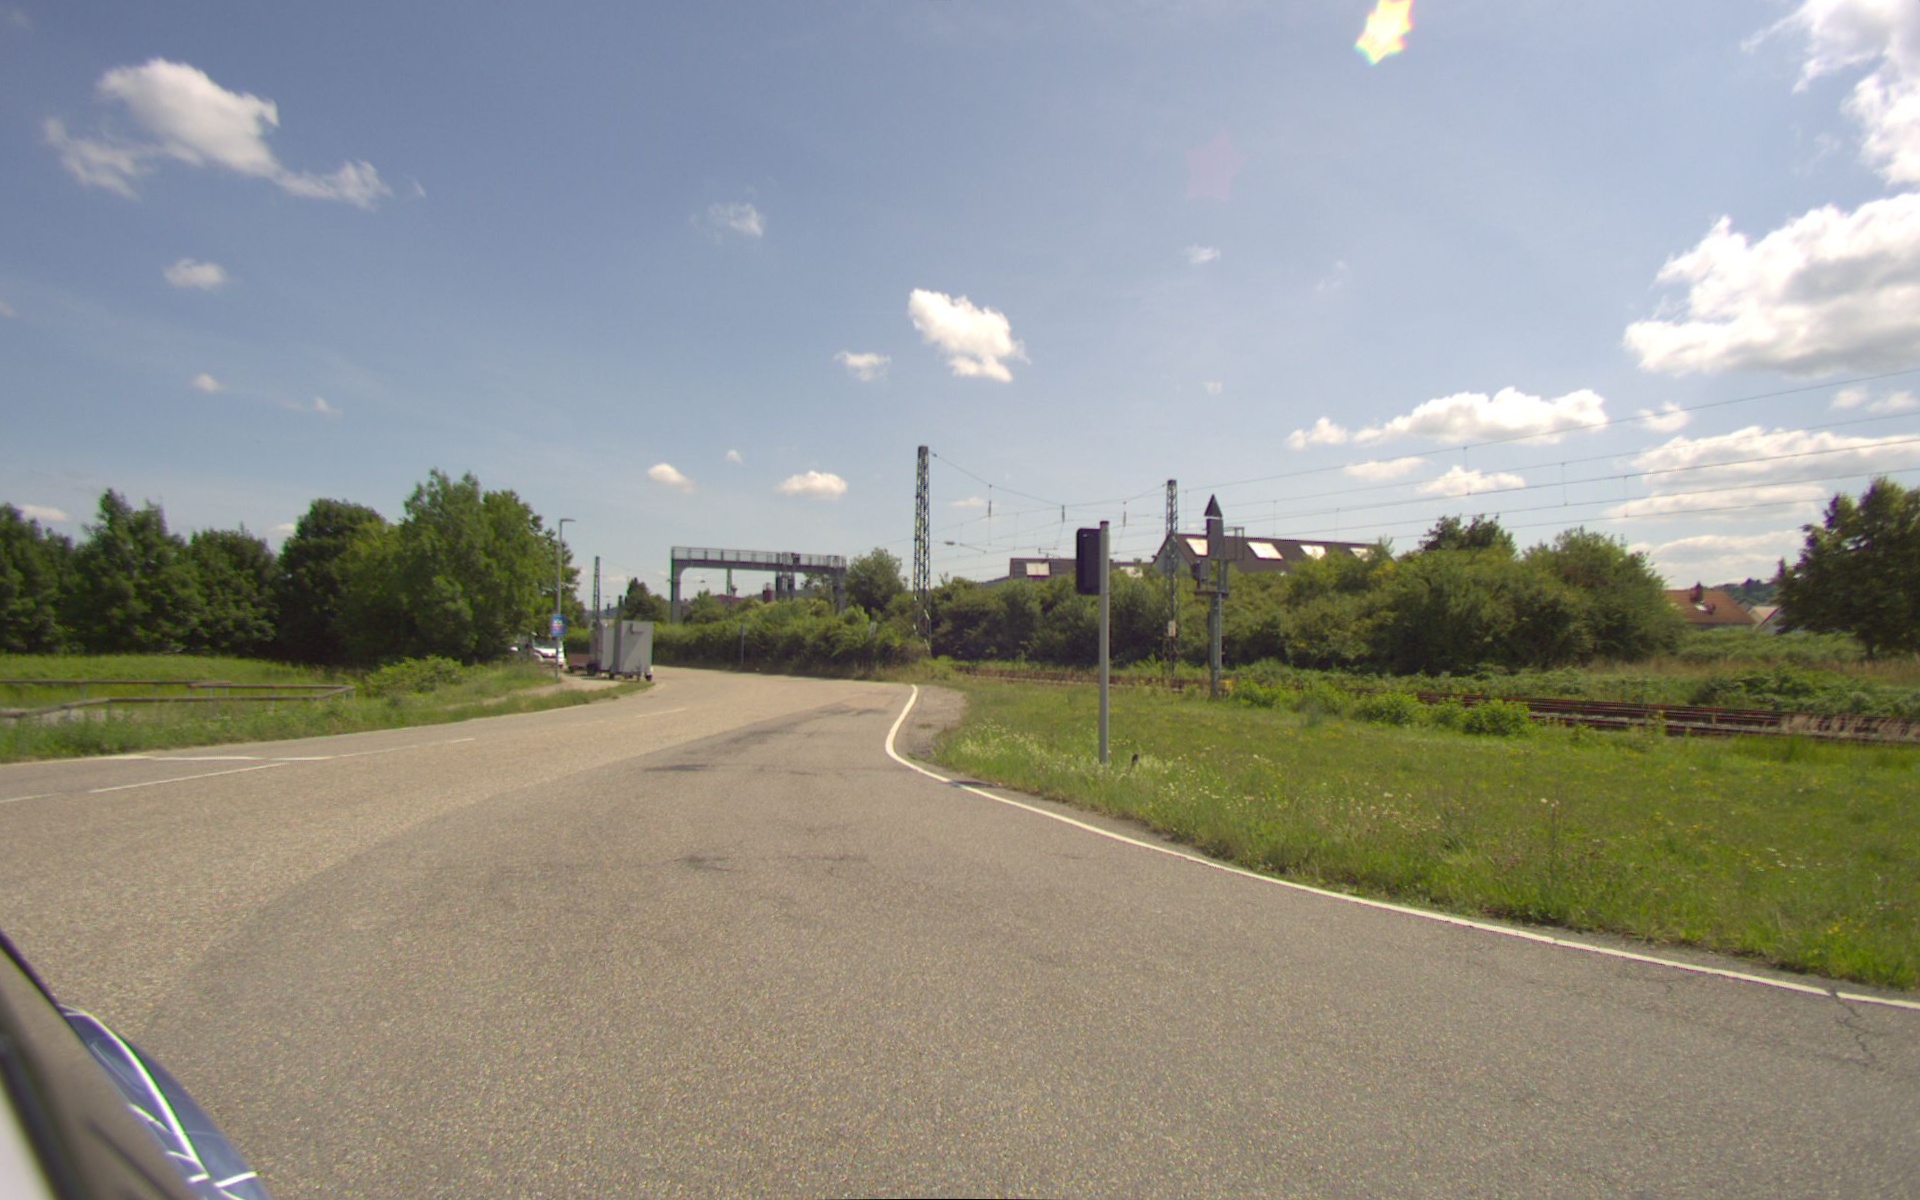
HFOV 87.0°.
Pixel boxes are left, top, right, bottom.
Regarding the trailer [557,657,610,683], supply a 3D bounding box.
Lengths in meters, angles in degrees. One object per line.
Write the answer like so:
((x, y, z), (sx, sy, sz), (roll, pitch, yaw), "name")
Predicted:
((-19.974, 3.688, 53.607), (1.976, 1.131, 4.503), (5, -4, -28), "trailer")

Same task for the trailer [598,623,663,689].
((-14.510, 2.467, 44.382), (1.905, 2.664, 5.200), (5, -5, -25), "trailer")

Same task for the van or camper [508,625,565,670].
((-29.267, 3.297, 69.773), (2.405, 2.848, 7.645), (4, -4, -31), "van or camper")

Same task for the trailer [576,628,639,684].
((-17.440, 2.753, 49.874), (1.892, 2.527, 4.755), (5, -5, -30), "trailer")
